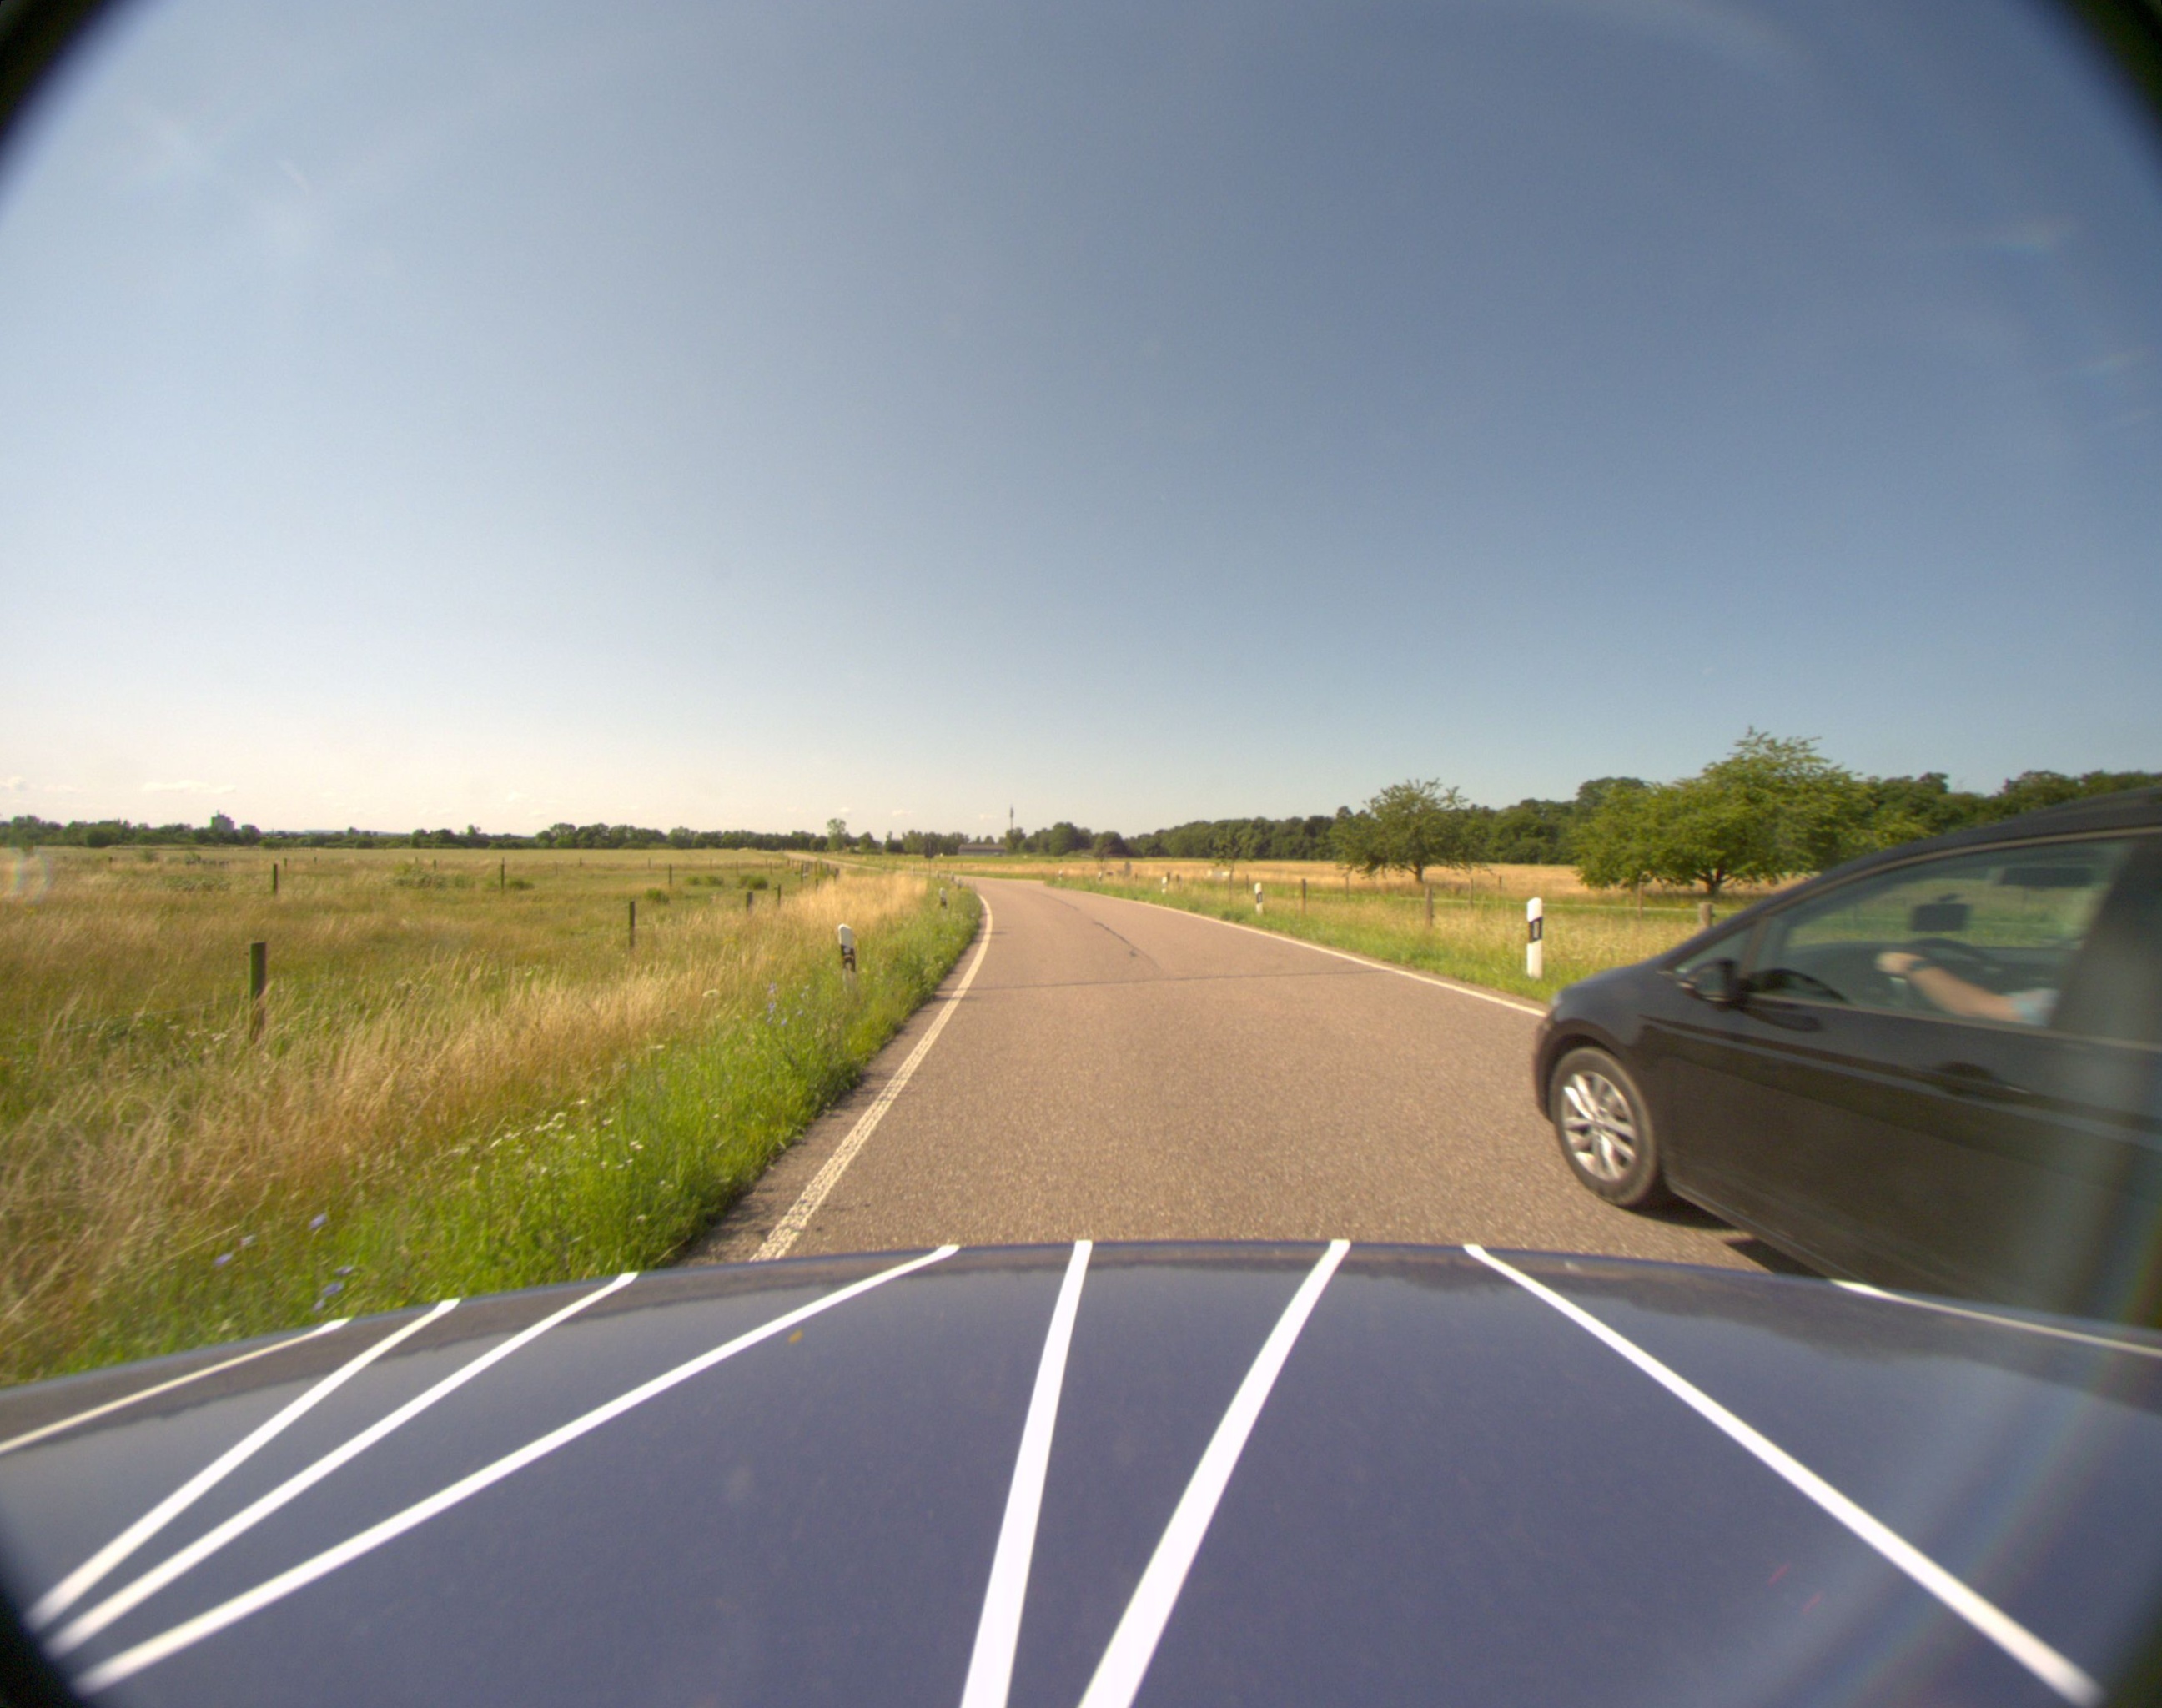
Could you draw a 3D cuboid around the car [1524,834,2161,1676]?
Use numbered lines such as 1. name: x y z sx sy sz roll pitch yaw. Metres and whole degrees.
1. car: 2.957 0.750 1.472 1.788 1.622 4.161 -2 -1 1
